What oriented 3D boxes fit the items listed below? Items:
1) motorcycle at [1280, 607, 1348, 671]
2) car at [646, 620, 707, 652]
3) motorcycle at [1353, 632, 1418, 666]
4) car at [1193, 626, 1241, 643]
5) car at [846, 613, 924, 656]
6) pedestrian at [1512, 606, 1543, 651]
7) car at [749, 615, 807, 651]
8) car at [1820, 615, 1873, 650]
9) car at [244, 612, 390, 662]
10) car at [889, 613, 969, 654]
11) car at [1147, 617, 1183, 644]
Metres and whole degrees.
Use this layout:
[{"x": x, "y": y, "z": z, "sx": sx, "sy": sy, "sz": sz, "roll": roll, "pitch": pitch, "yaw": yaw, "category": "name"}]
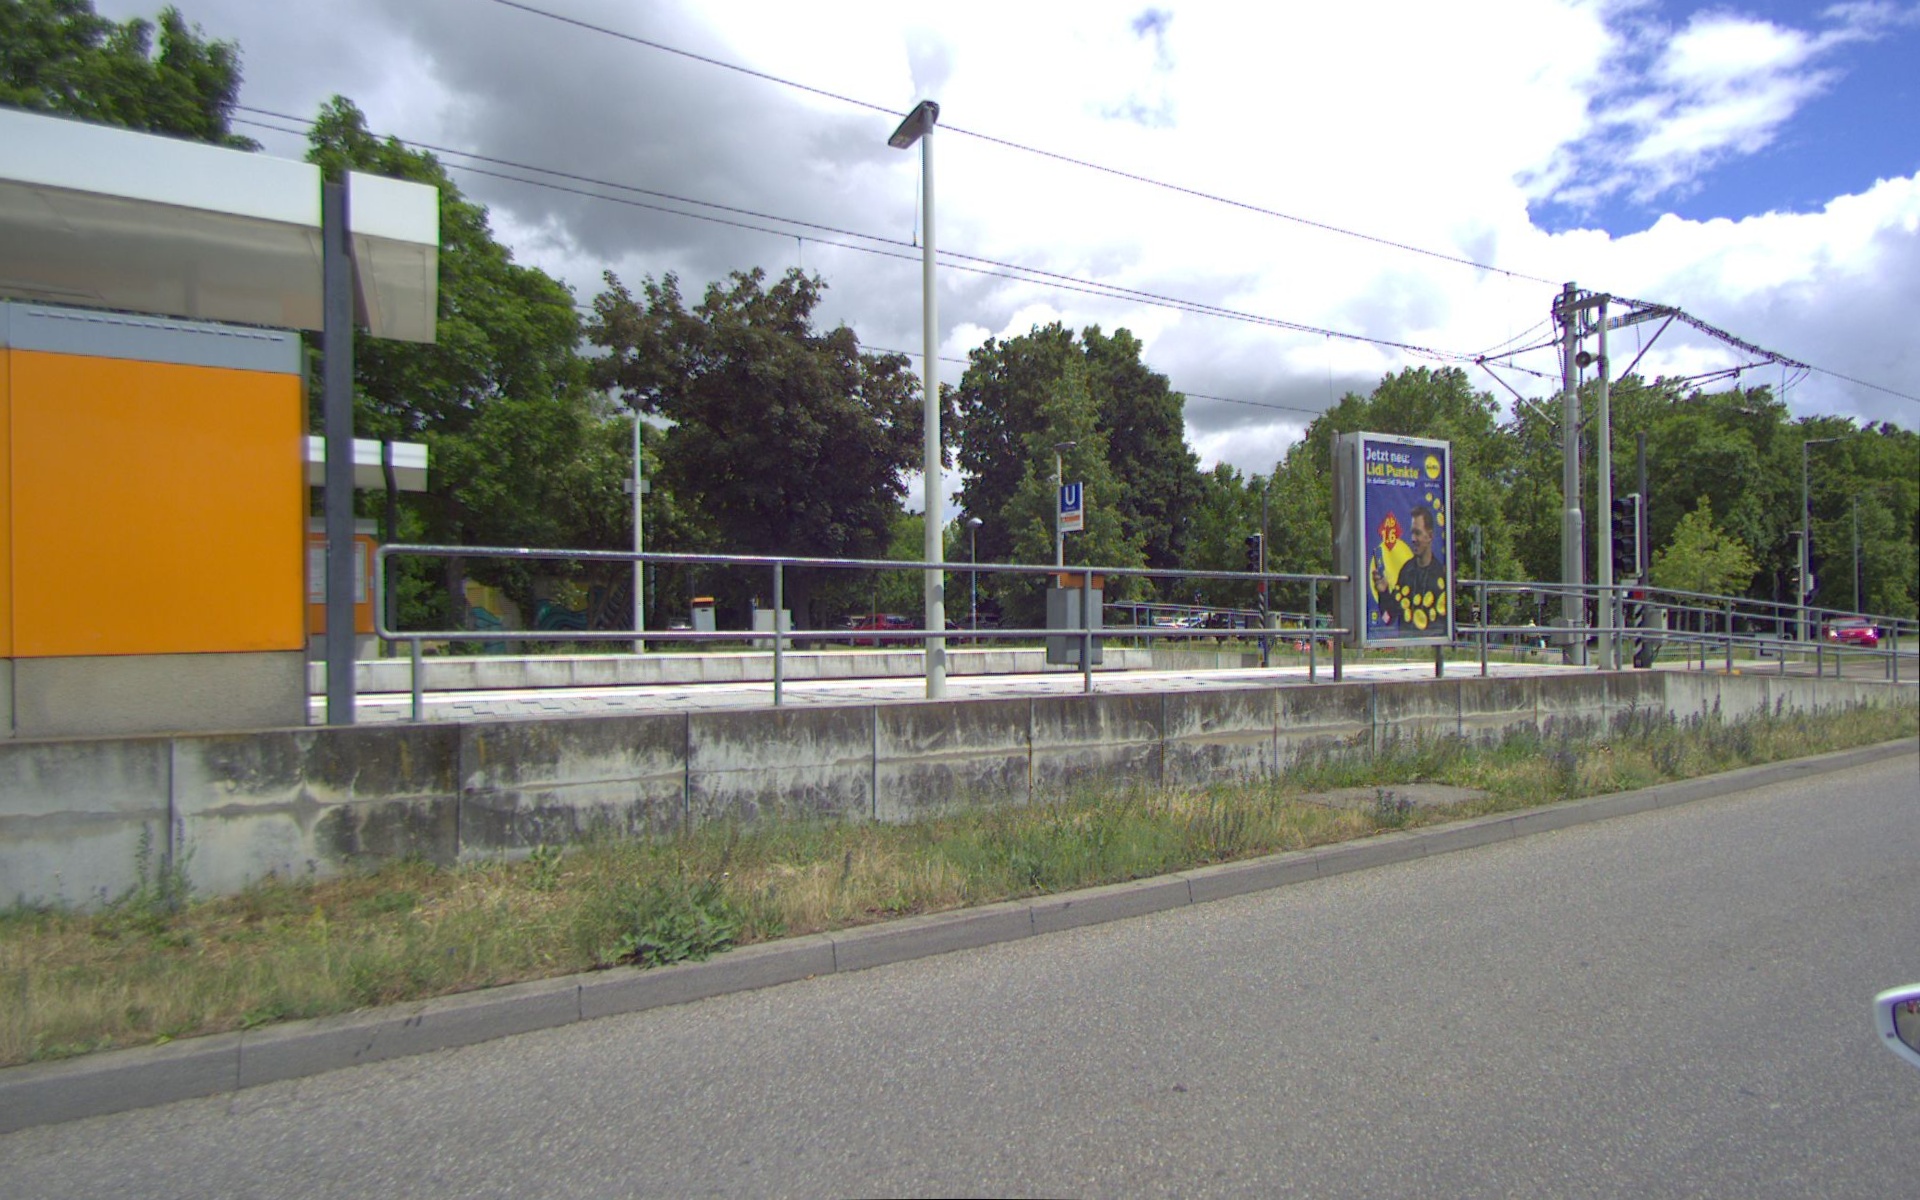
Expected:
[{"x": 11.497, "y": 1.253, "z": 32.601, "sx": 1.950, "sy": 2.040, "sz": 0.833, "roll": 0, "pitch": -1, "yaw": -16, "category": "motorcycle"}, {"x": -14.409, "y": 1.776, "z": 50.947, "sx": 1.948, "sy": 1.511, "sz": 3.798, "roll": -1, "pitch": -1, "yaw": -33, "category": "car"}, {"x": 14.434, "y": 1.639, "z": 34.055, "sx": 2.183, "sy": 1.095, "sz": 0.728, "roll": 0, "pitch": -1, "yaw": -23, "category": "motorcycle"}, {"x": 17.943, "y": 2.400, "z": 70.196, "sx": 3.043, "sy": 1.096, "sz": 1.417, "roll": -1, "pitch": 0, "yaw": 2, "category": "car"}, {"x": -3.288, "y": 1.456, "z": 43.387, "sx": 2.028, "sy": 1.728, "sz": 3.619, "roll": -1, "pitch": 0, "yaw": -30, "category": "car"}, {"x": 26.624, "y": 1.334, "z": 47.158, "sx": 0.807, "sy": 2.040, "sz": 0.961, "roll": -1, "pitch": 0, "yaw": -11, "category": "pedestrian"}, {"x": -9.550, "y": 1.705, "z": 52.397, "sx": 2.159, "sy": 1.751, "sz": 3.978, "roll": -1, "pitch": 0, "yaw": -23, "category": "car"}, {"x": 40.759, "y": 1.463, "z": 46.226, "sx": 1.699, "sy": 1.523, "sz": 2.953, "roll": -1, "pitch": -1, "yaw": 40, "category": "car"}, {"x": -23.792, "y": 1.335, "z": 37.381, "sx": 4.350, "sy": 1.701, "sz": 1.935, "roll": -1, "pitch": 0, "yaw": -28, "category": "car"}, {"x": -1.429, "y": 1.442, "z": 44.717, "sx": 1.951, "sy": 1.706, "sz": 3.969, "roll": -1, "pitch": 0, "yaw": -30, "category": "car"}, {"x": 13.398, "y": 1.954, "z": 65.694, "sx": 1.959, "sy": 1.660, "sz": 4.141, "roll": -1, "pitch": 0, "yaw": 7, "category": "car"}]
